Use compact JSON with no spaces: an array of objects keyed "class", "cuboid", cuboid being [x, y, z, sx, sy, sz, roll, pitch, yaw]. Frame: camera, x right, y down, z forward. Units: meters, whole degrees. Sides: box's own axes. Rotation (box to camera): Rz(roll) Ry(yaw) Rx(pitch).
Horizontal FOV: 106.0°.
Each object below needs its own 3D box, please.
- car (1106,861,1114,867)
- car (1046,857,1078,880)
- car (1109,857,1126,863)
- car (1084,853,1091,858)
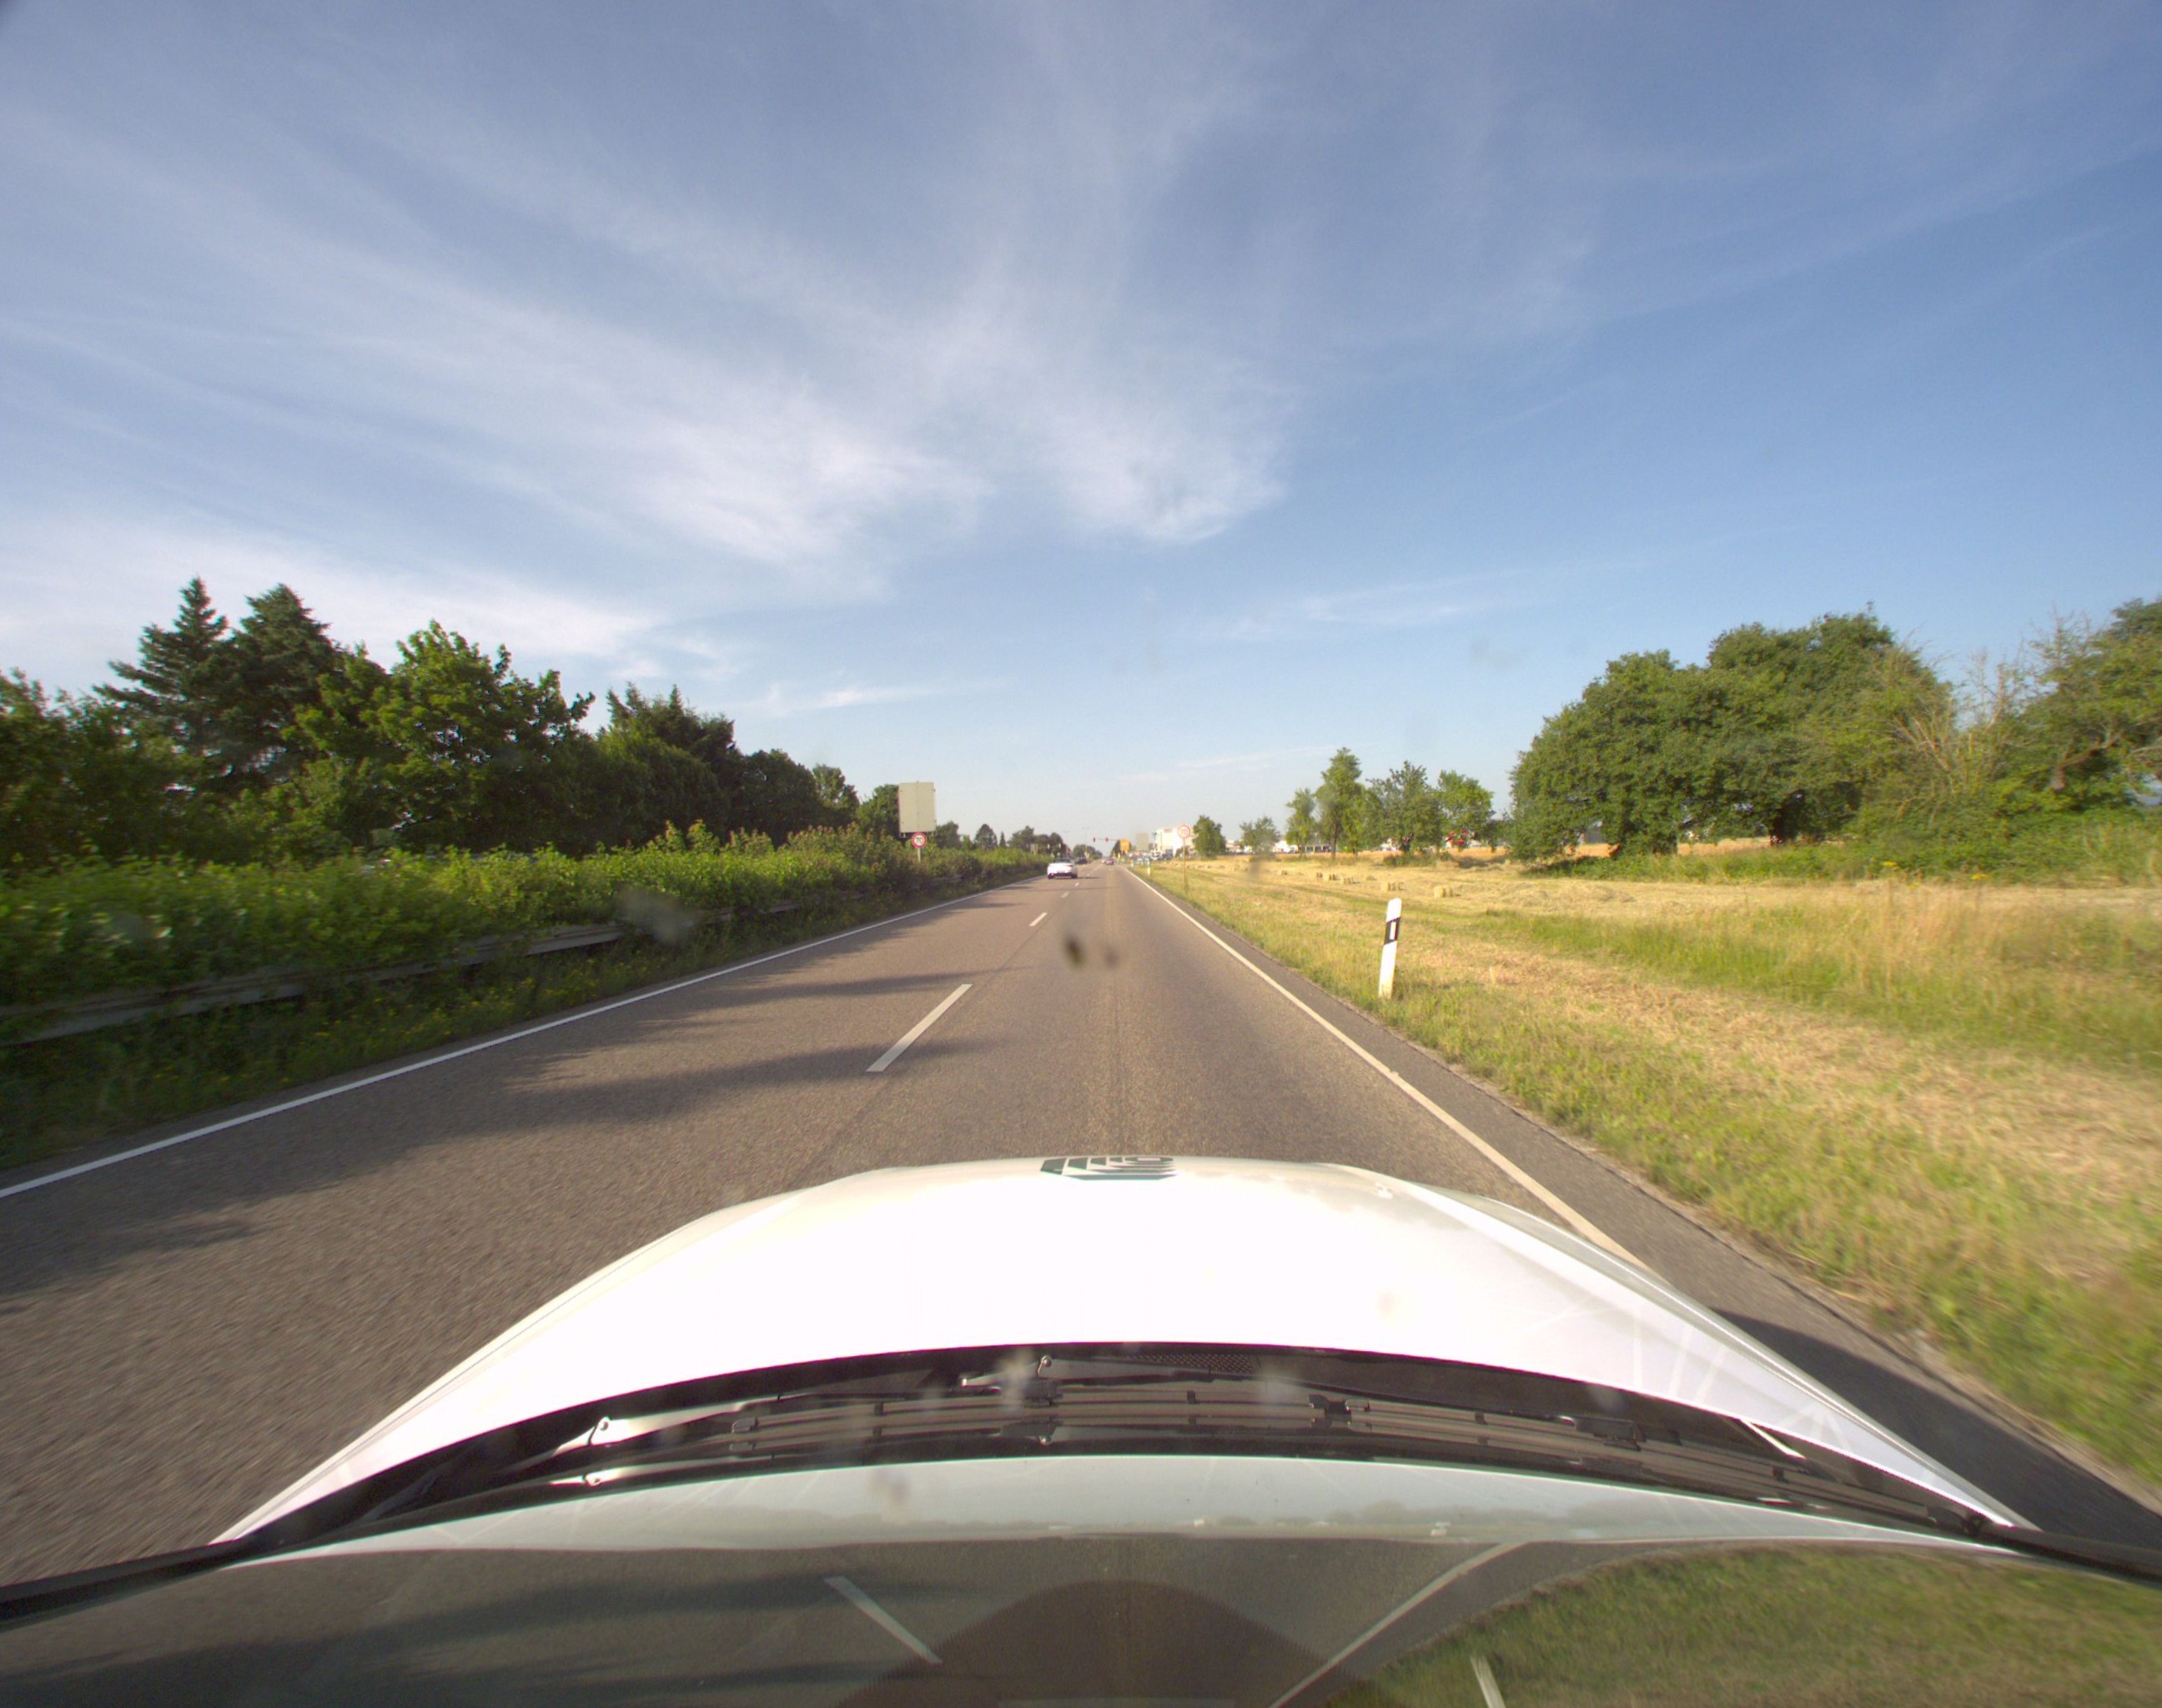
[{"class":"car","cuboid":[6.898,2.324,194.270,1.986,1.486,4.001,-1,0,1]},{"class":"car","cuboid":[-1.252,0.958,55.270,1.903,1.422,4.001,-1,0,1]},{"class":"car","cuboid":[9.958,1.677,222.093,3.998,1.408,1.942,-1,0,-18]},{"class":"car","cuboid":[2.121,0.452,258.524,1.940,1.408,4.003,-1,0,3]}]
